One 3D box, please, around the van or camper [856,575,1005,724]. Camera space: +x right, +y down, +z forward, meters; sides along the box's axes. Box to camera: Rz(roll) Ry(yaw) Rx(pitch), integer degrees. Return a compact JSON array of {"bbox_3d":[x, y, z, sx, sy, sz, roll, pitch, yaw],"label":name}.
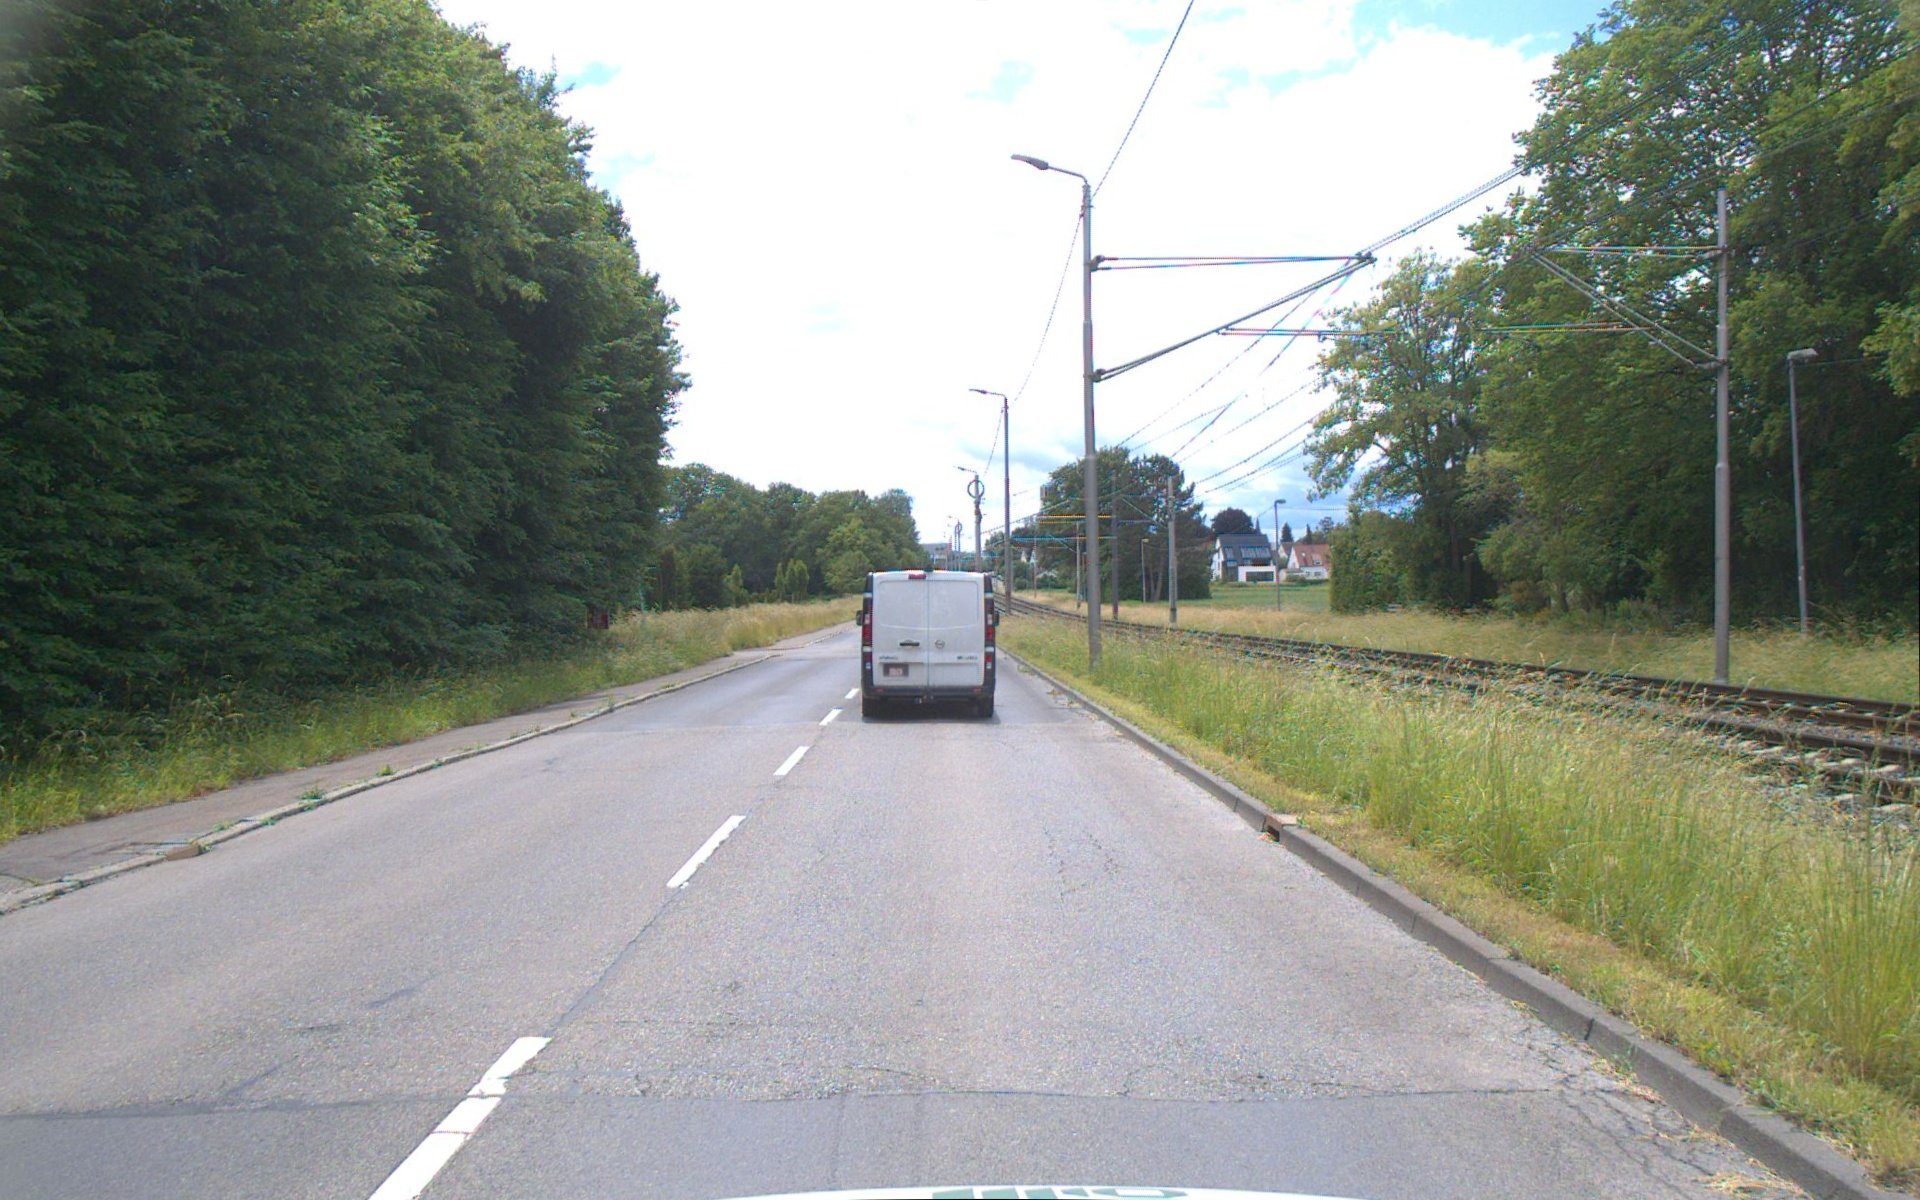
[{"bbox_3d":[-0.329,0.681,23.703,1.901,1.930,4.285,0,-1,2],"label":"van or camper"}]
